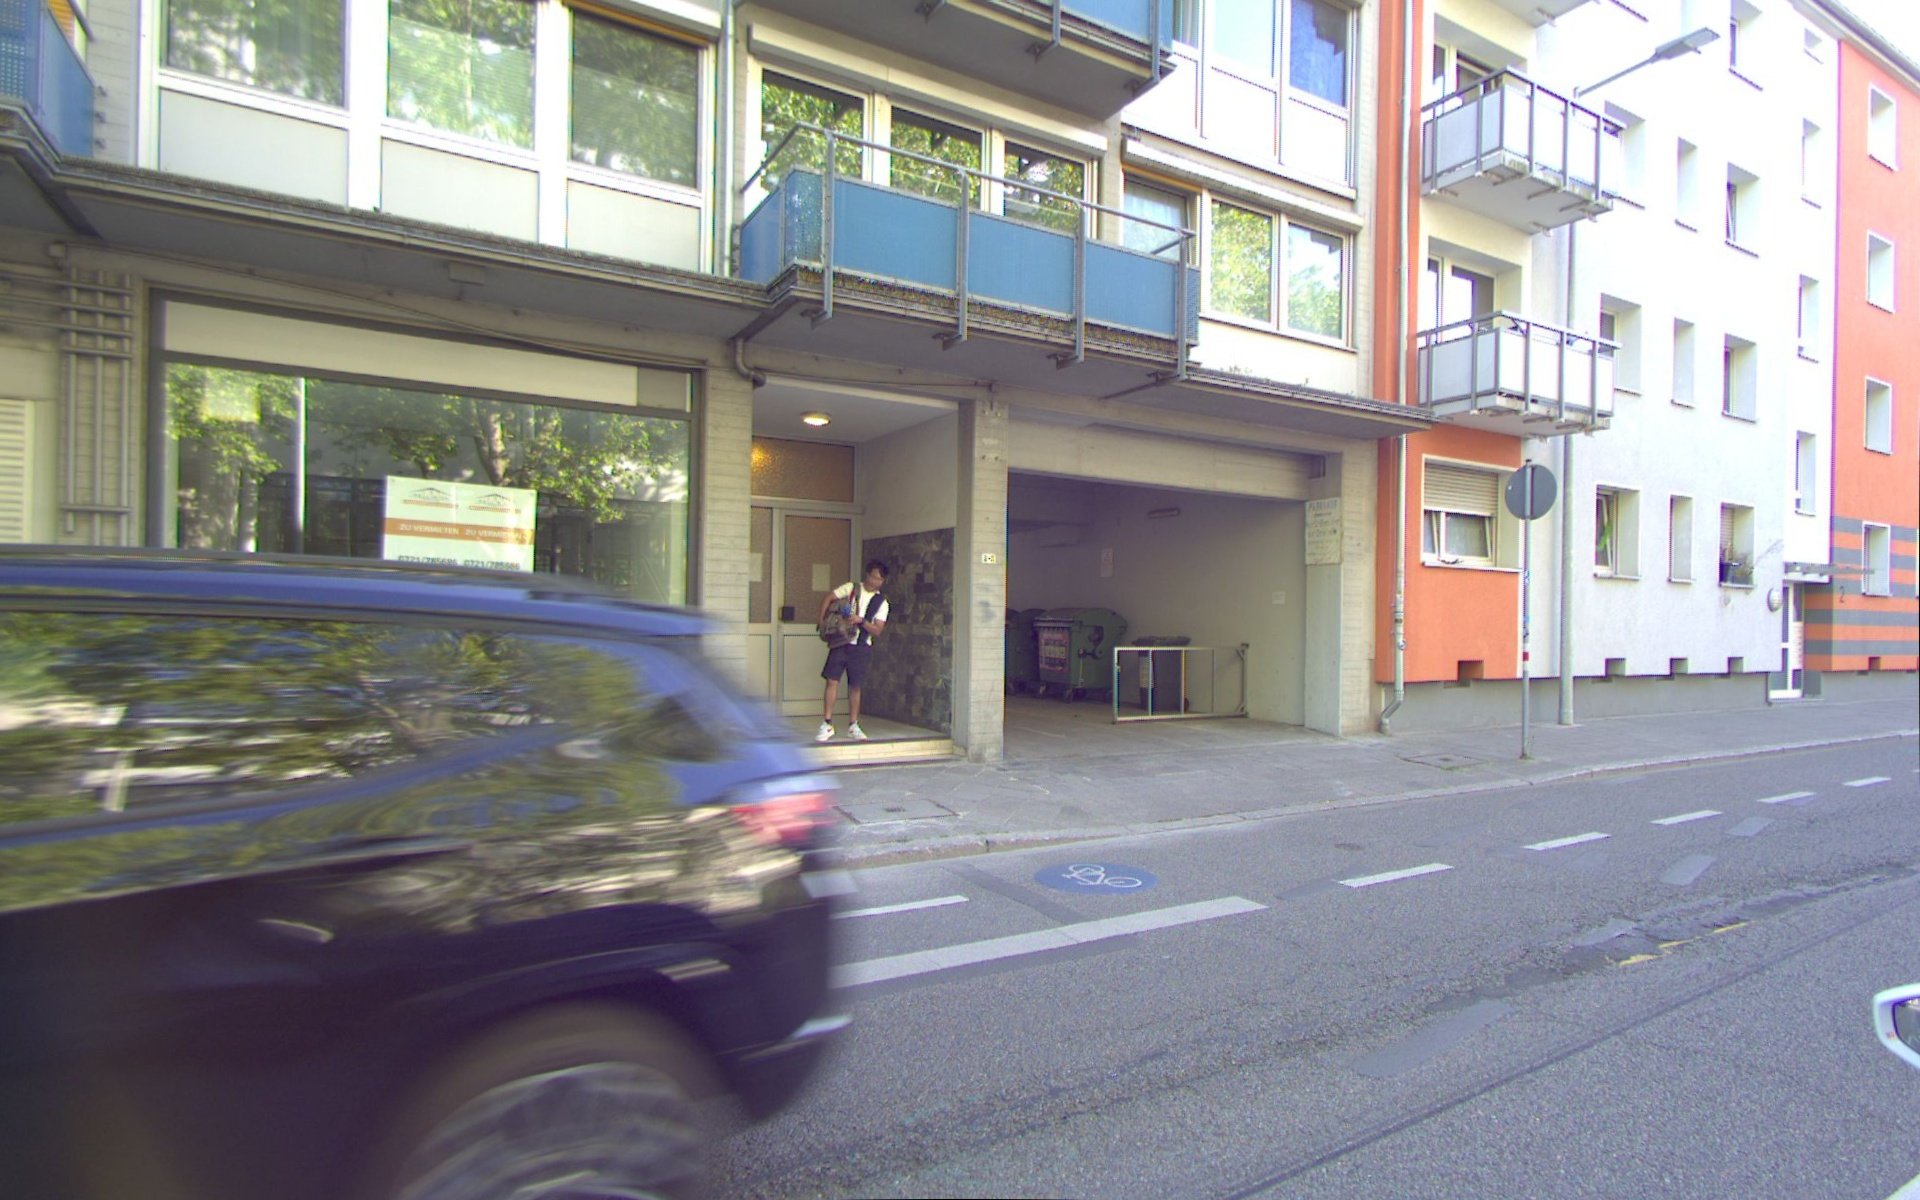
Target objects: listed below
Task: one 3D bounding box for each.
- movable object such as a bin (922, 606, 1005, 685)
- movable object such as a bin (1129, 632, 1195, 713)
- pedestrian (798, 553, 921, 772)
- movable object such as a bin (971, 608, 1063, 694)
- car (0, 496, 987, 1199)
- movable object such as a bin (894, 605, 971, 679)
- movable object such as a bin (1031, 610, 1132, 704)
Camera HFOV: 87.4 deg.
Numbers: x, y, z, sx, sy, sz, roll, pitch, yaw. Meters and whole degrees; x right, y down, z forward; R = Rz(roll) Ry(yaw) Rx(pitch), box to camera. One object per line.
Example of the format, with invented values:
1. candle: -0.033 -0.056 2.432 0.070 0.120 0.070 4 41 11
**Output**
1. movable object such as a bin: 0.050 0.826 18.694 1.066 1.384 1.255 2 0 -27
2. movable object such as a bin: 2.903 1.028 14.461 0.650 1.115 0.626 2 0 -27
3. pedestrian: -0.935 0.554 9.254 0.882 1.902 0.703 2 0 -28
4. movable object such as a bin: 0.960 0.846 17.126 1.066 1.384 1.255 2 0 -27
5. car: -2.276 0.619 2.068 4.334 1.591 1.841 2 0 -30
6. movable object such as a bin: -0.559 0.814 19.864 1.066 1.384 1.255 2 0 -27
7. movable object such as a bin: 1.902 0.869 15.811 1.066 1.384 1.192 2 0 -27
